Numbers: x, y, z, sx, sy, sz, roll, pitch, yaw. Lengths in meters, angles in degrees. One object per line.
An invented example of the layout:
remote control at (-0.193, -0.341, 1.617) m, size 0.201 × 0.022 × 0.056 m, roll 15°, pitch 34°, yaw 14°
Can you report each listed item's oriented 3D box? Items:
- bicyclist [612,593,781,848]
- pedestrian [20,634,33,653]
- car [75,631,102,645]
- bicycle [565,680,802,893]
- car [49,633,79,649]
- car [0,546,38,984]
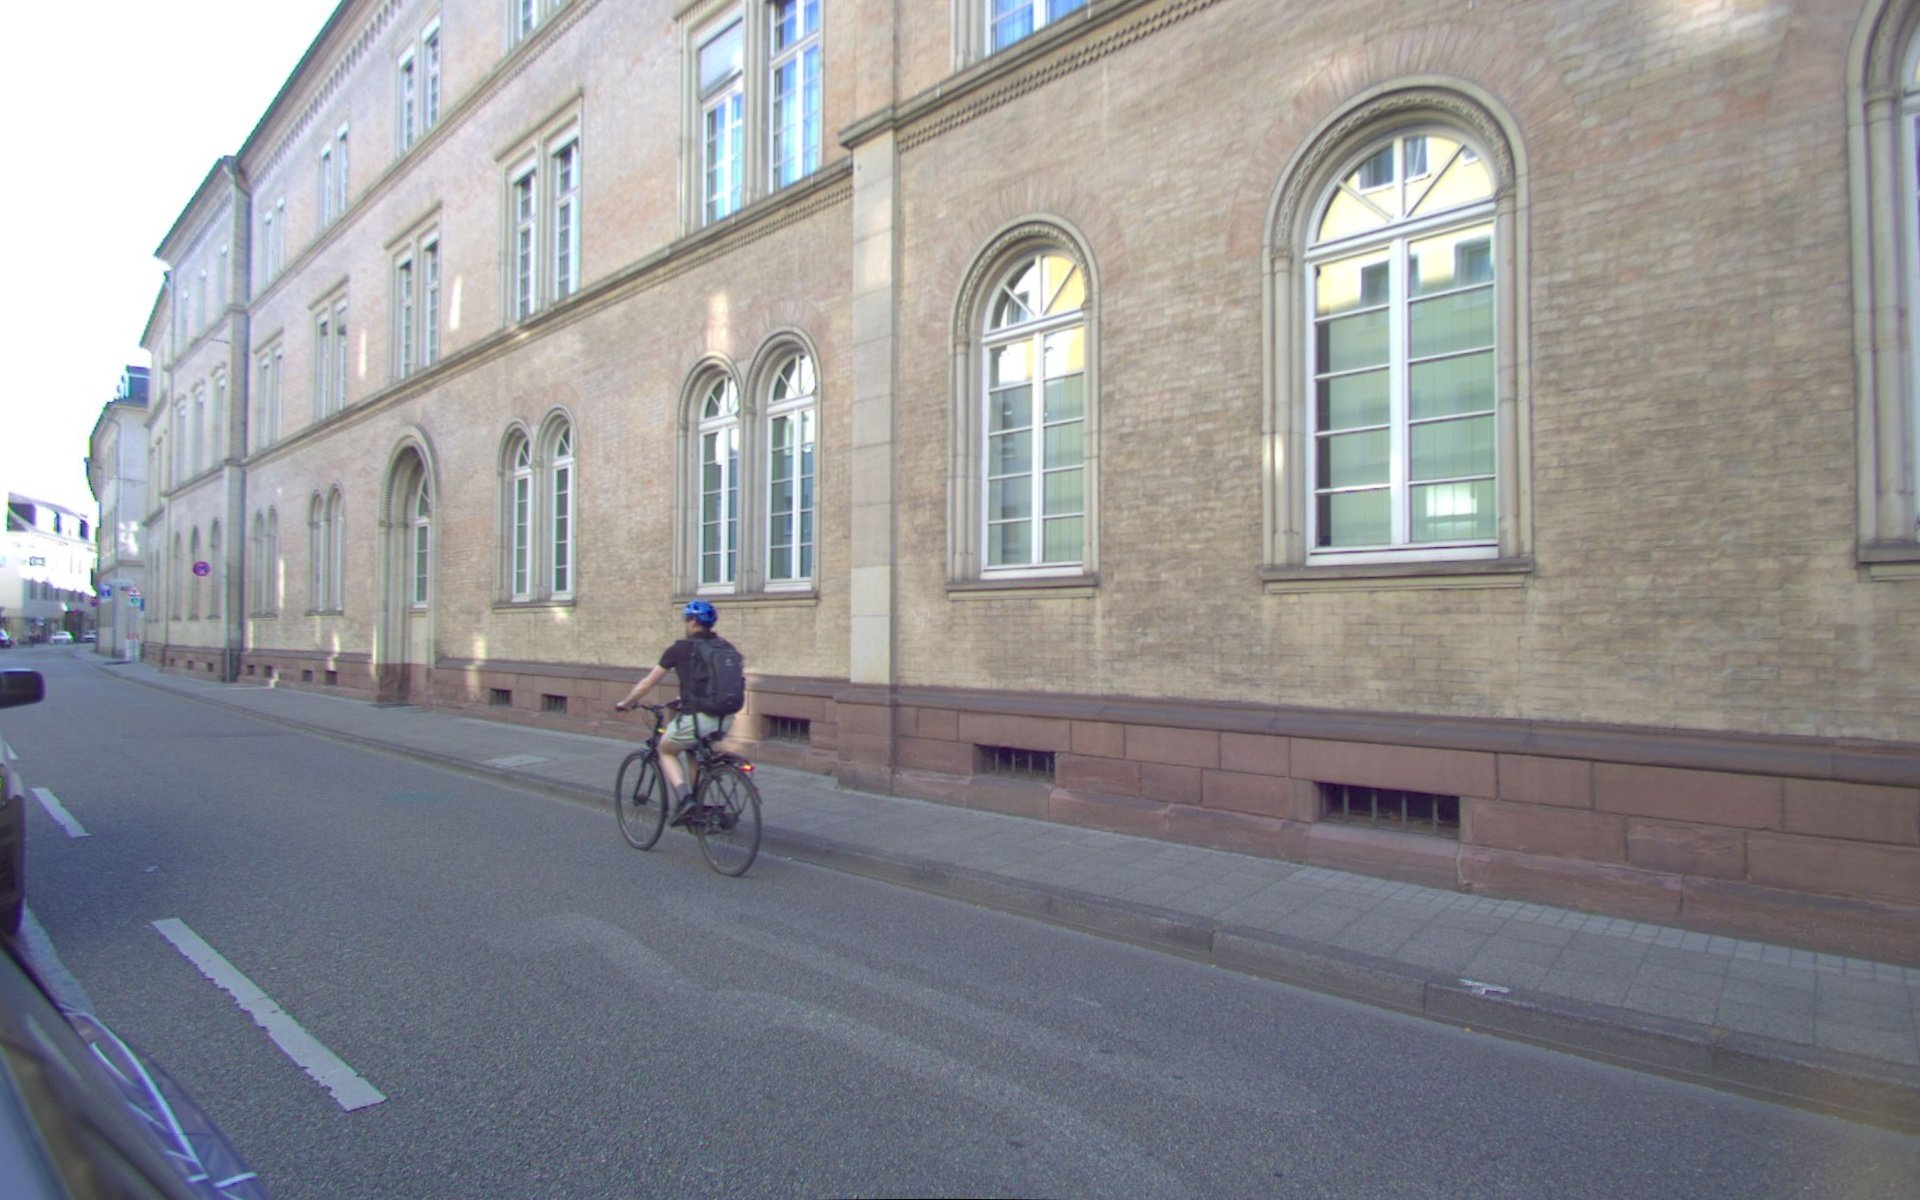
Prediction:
bicyclist at (-1.752, 0.743, 6.695) m, size 1.079 × 1.539 × 0.584 m, roll -2°, pitch -3°, yaw 42°
pedestrian at (-85.371, 3.987, 92.546) m, size 0.694 × 1.648 × 0.834 m, roll 5°, pitch -4°, yaw -36°
car at (-109.217, 4.737, 126.824) m, size 1.966 × 1.665 × 4.240 m, roll -1°, pitch 0°, yaw -33°
bicycle at (-1.916, 1.166, 6.838) m, size 1.969 × 1.161 × 0.584 m, roll -2°, pitch -3°, yaw 42°
car at (-102.844, 4.662, 116.172) m, size 1.966 × 1.665 × 4.240 m, roll -1°, pitch 0°, yaw -33°
car at (-6.422, 0.681, 5.303) m, size 5.329 × 1.784 × 1.747 m, roll -1°, pitch -2°, yaw 41°
